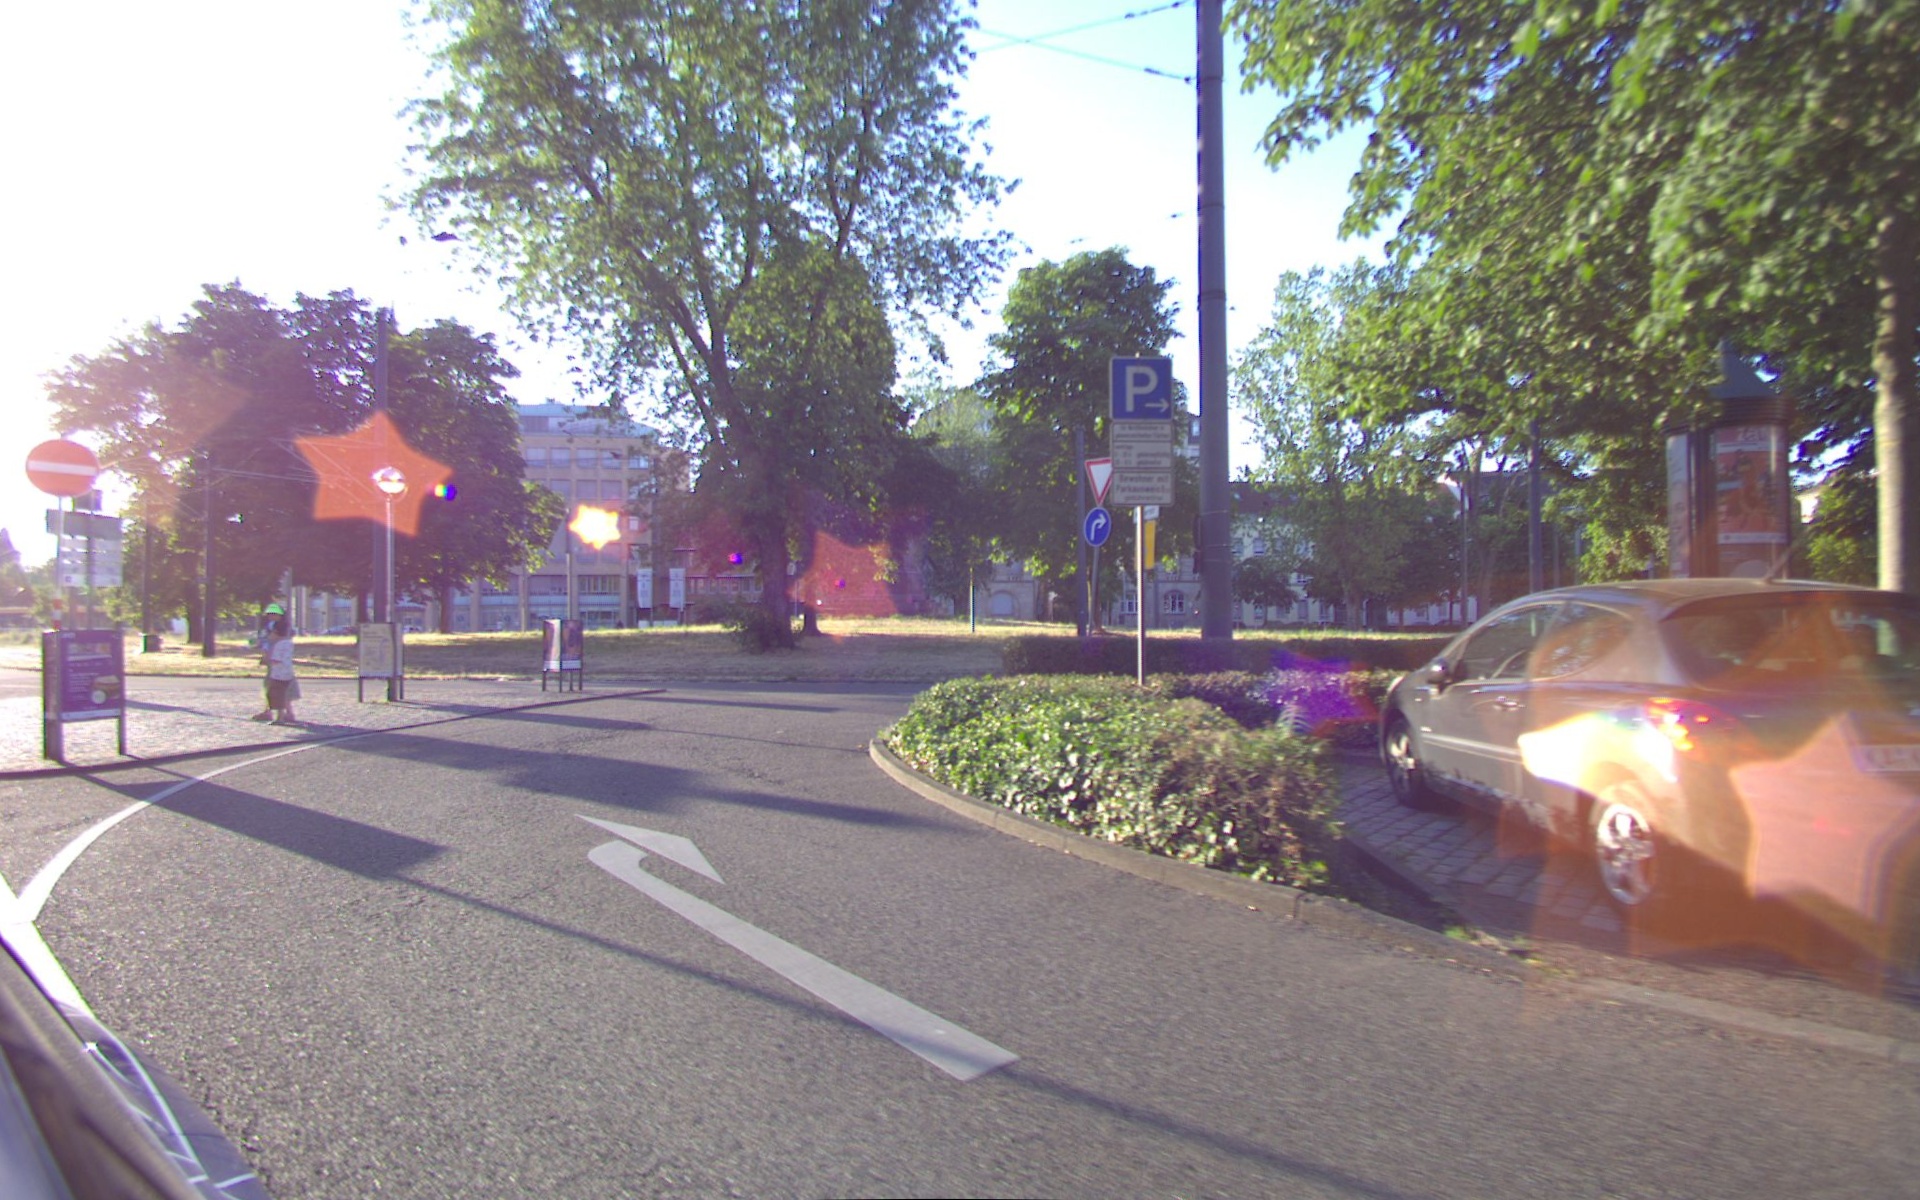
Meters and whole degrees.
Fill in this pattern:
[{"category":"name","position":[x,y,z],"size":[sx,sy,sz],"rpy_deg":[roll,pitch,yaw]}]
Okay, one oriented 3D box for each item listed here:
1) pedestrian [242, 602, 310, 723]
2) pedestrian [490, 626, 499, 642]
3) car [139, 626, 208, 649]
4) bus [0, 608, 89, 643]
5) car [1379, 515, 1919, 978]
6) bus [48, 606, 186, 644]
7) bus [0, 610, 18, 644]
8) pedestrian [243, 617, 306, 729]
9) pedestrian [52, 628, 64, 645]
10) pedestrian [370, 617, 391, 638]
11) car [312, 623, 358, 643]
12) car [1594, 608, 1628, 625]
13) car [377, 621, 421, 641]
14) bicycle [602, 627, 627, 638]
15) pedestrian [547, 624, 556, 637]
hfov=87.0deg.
[{"category":"pedestrian","position":[-9.285,0.831,13.754],"size":[0.683,1.571,0.702],"rpy_deg":[-1,-1,-28]},{"category":"pedestrian","position":[-49.513,3.596,107.679],"size":[0.614,1.705,0.527],"rpy_deg":[-2,-1,24]},{"category":"car","position":[-102.607,4.861,132.173],"size":[2.290,2.900,7.158],"rpy_deg":[-2,-2,18]},{"category":"bus","position":[-96.230,2.666,104.936],"size":[10.640,3.356,3.741],"rpy_deg":[-2,-1,16]},{"category":"car","position":[3.771,0.505,5.389],"size":[1.781,1.594,3.877],"rpy_deg":[-1,0,6]},{"category":"bus","position":[-84.566,2.505,101.467],"size":[13.591,3.388,3.741],"rpy_deg":[-2,-1,17]},{"category":"bus","position":[-107.007,3.024,108.190],"size":[12.026,3.482,3.740],"rpy_deg":[-2,-1,17]},{"category":"pedestrian","position":[-8.880,0.926,13.127],"size":[0.603,1.374,0.566],"rpy_deg":[-1,1,-29]},{"category":"pedestrian","position":[-78.229,3.188,87.775],"size":[0.698,1.470,0.664],"rpy_deg":[-2,-1,37]},{"category":"pedestrian","position":[-60.140,2.808,104.999],"size":[1.613,2.110,1.058],"rpy_deg":[-2,-1,5]},{"category":"car","position":[-67.536,3.518,109.411],"size":[3.958,2.029,1.904],"rpy_deg":[-2,-1,11]},{"category":"car","position":[69.661,1.752,108.298],"size":[1.983,1.696,3.977],"rpy_deg":[-2,-1,17]},{"category":"car","position":[-59.516,3.267,107.368],"size":[3.869,2.029,1.849],"rpy_deg":[-2,-1,11]},{"category":"bicycle","position":[-33.557,3.172,98.339],"size":[2.168,1.018,0.473],"rpy_deg":[3,-1,-5]},{"category":"pedestrian","position":[-42.580,3.142,105.551],"size":[0.678,1.334,0.564],"rpy_deg":[-2,-1,20]}]
